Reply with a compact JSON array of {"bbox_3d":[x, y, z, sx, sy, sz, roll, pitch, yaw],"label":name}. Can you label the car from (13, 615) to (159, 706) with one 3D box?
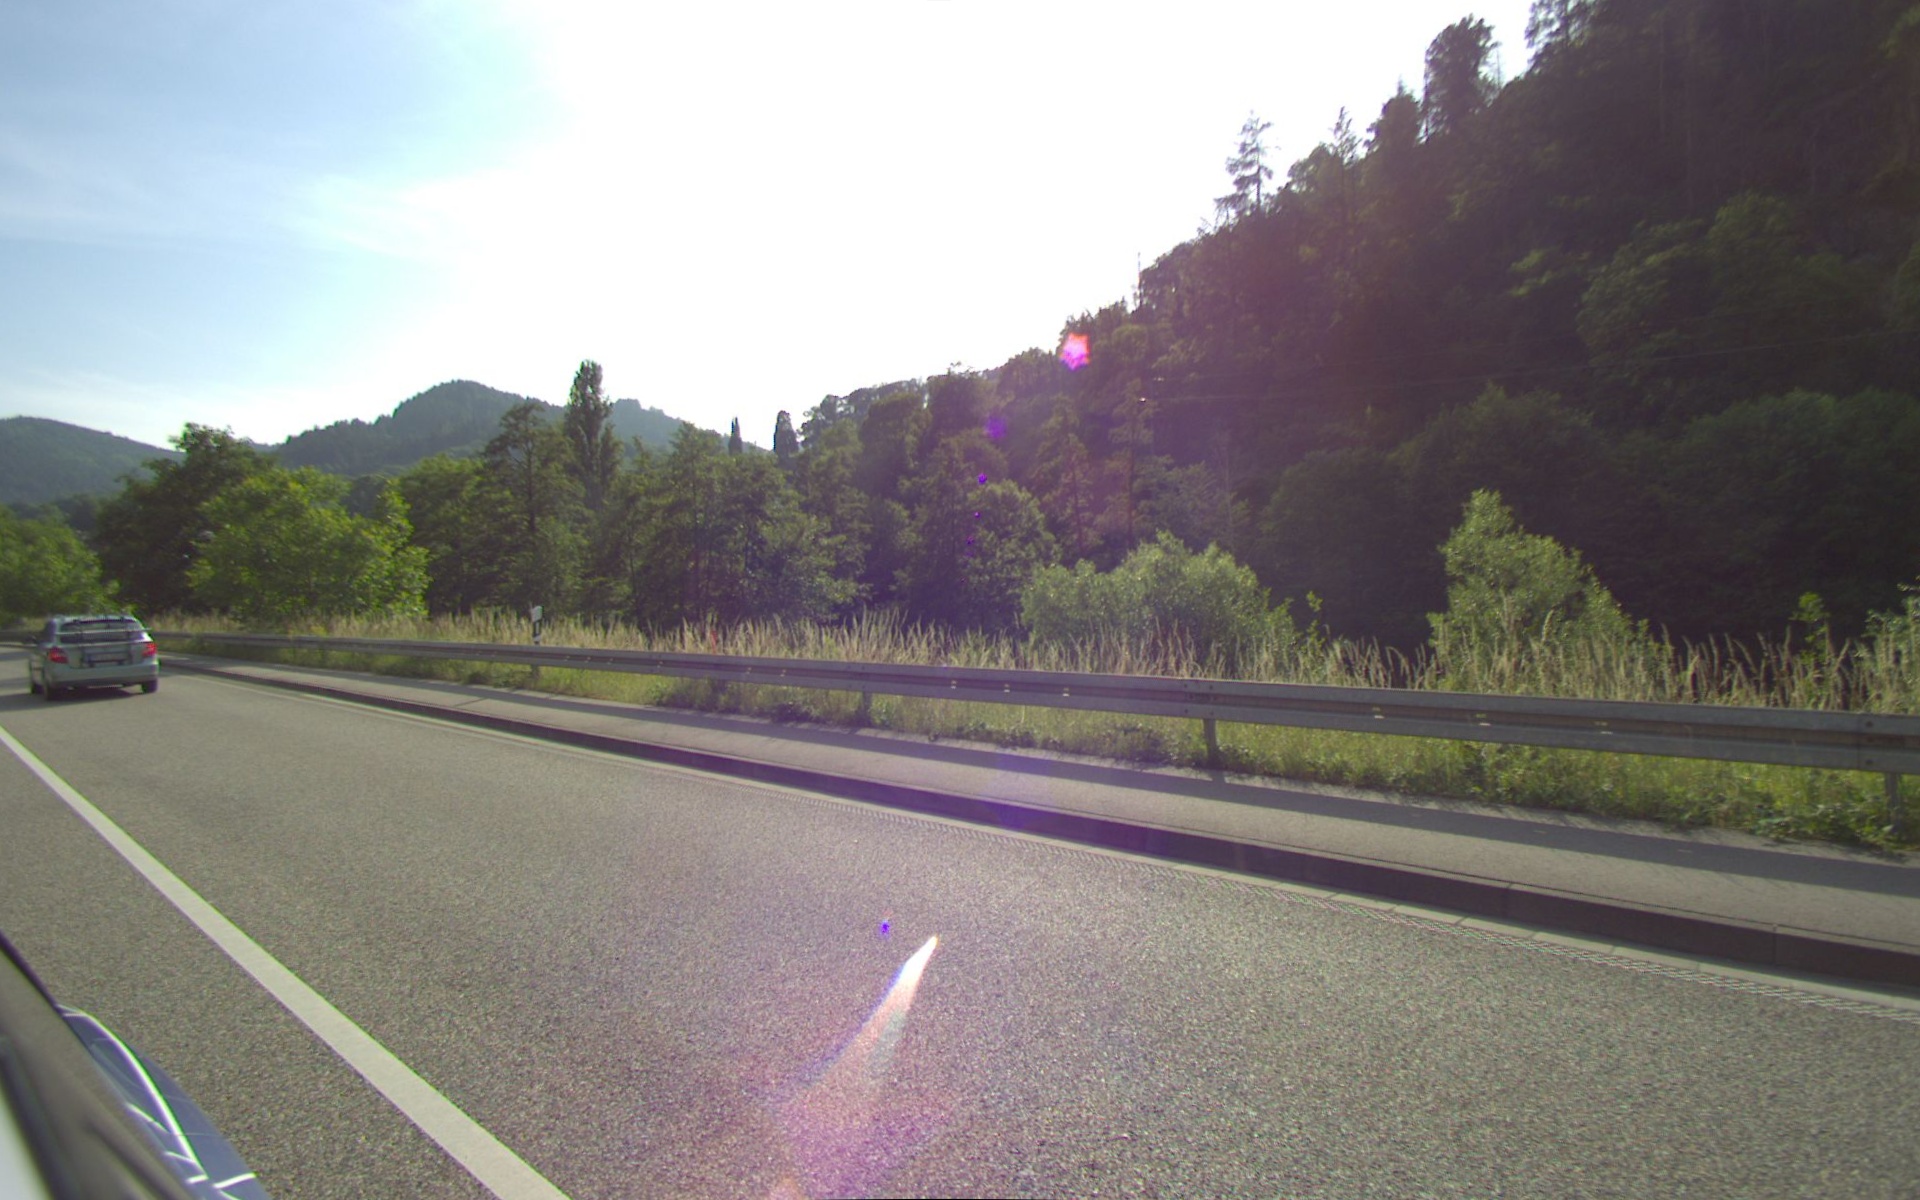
[{"bbox_3d":[-16.604,1.087,19.164,3.999,1.490,1.561,-2,0,42],"label":"car"}]
